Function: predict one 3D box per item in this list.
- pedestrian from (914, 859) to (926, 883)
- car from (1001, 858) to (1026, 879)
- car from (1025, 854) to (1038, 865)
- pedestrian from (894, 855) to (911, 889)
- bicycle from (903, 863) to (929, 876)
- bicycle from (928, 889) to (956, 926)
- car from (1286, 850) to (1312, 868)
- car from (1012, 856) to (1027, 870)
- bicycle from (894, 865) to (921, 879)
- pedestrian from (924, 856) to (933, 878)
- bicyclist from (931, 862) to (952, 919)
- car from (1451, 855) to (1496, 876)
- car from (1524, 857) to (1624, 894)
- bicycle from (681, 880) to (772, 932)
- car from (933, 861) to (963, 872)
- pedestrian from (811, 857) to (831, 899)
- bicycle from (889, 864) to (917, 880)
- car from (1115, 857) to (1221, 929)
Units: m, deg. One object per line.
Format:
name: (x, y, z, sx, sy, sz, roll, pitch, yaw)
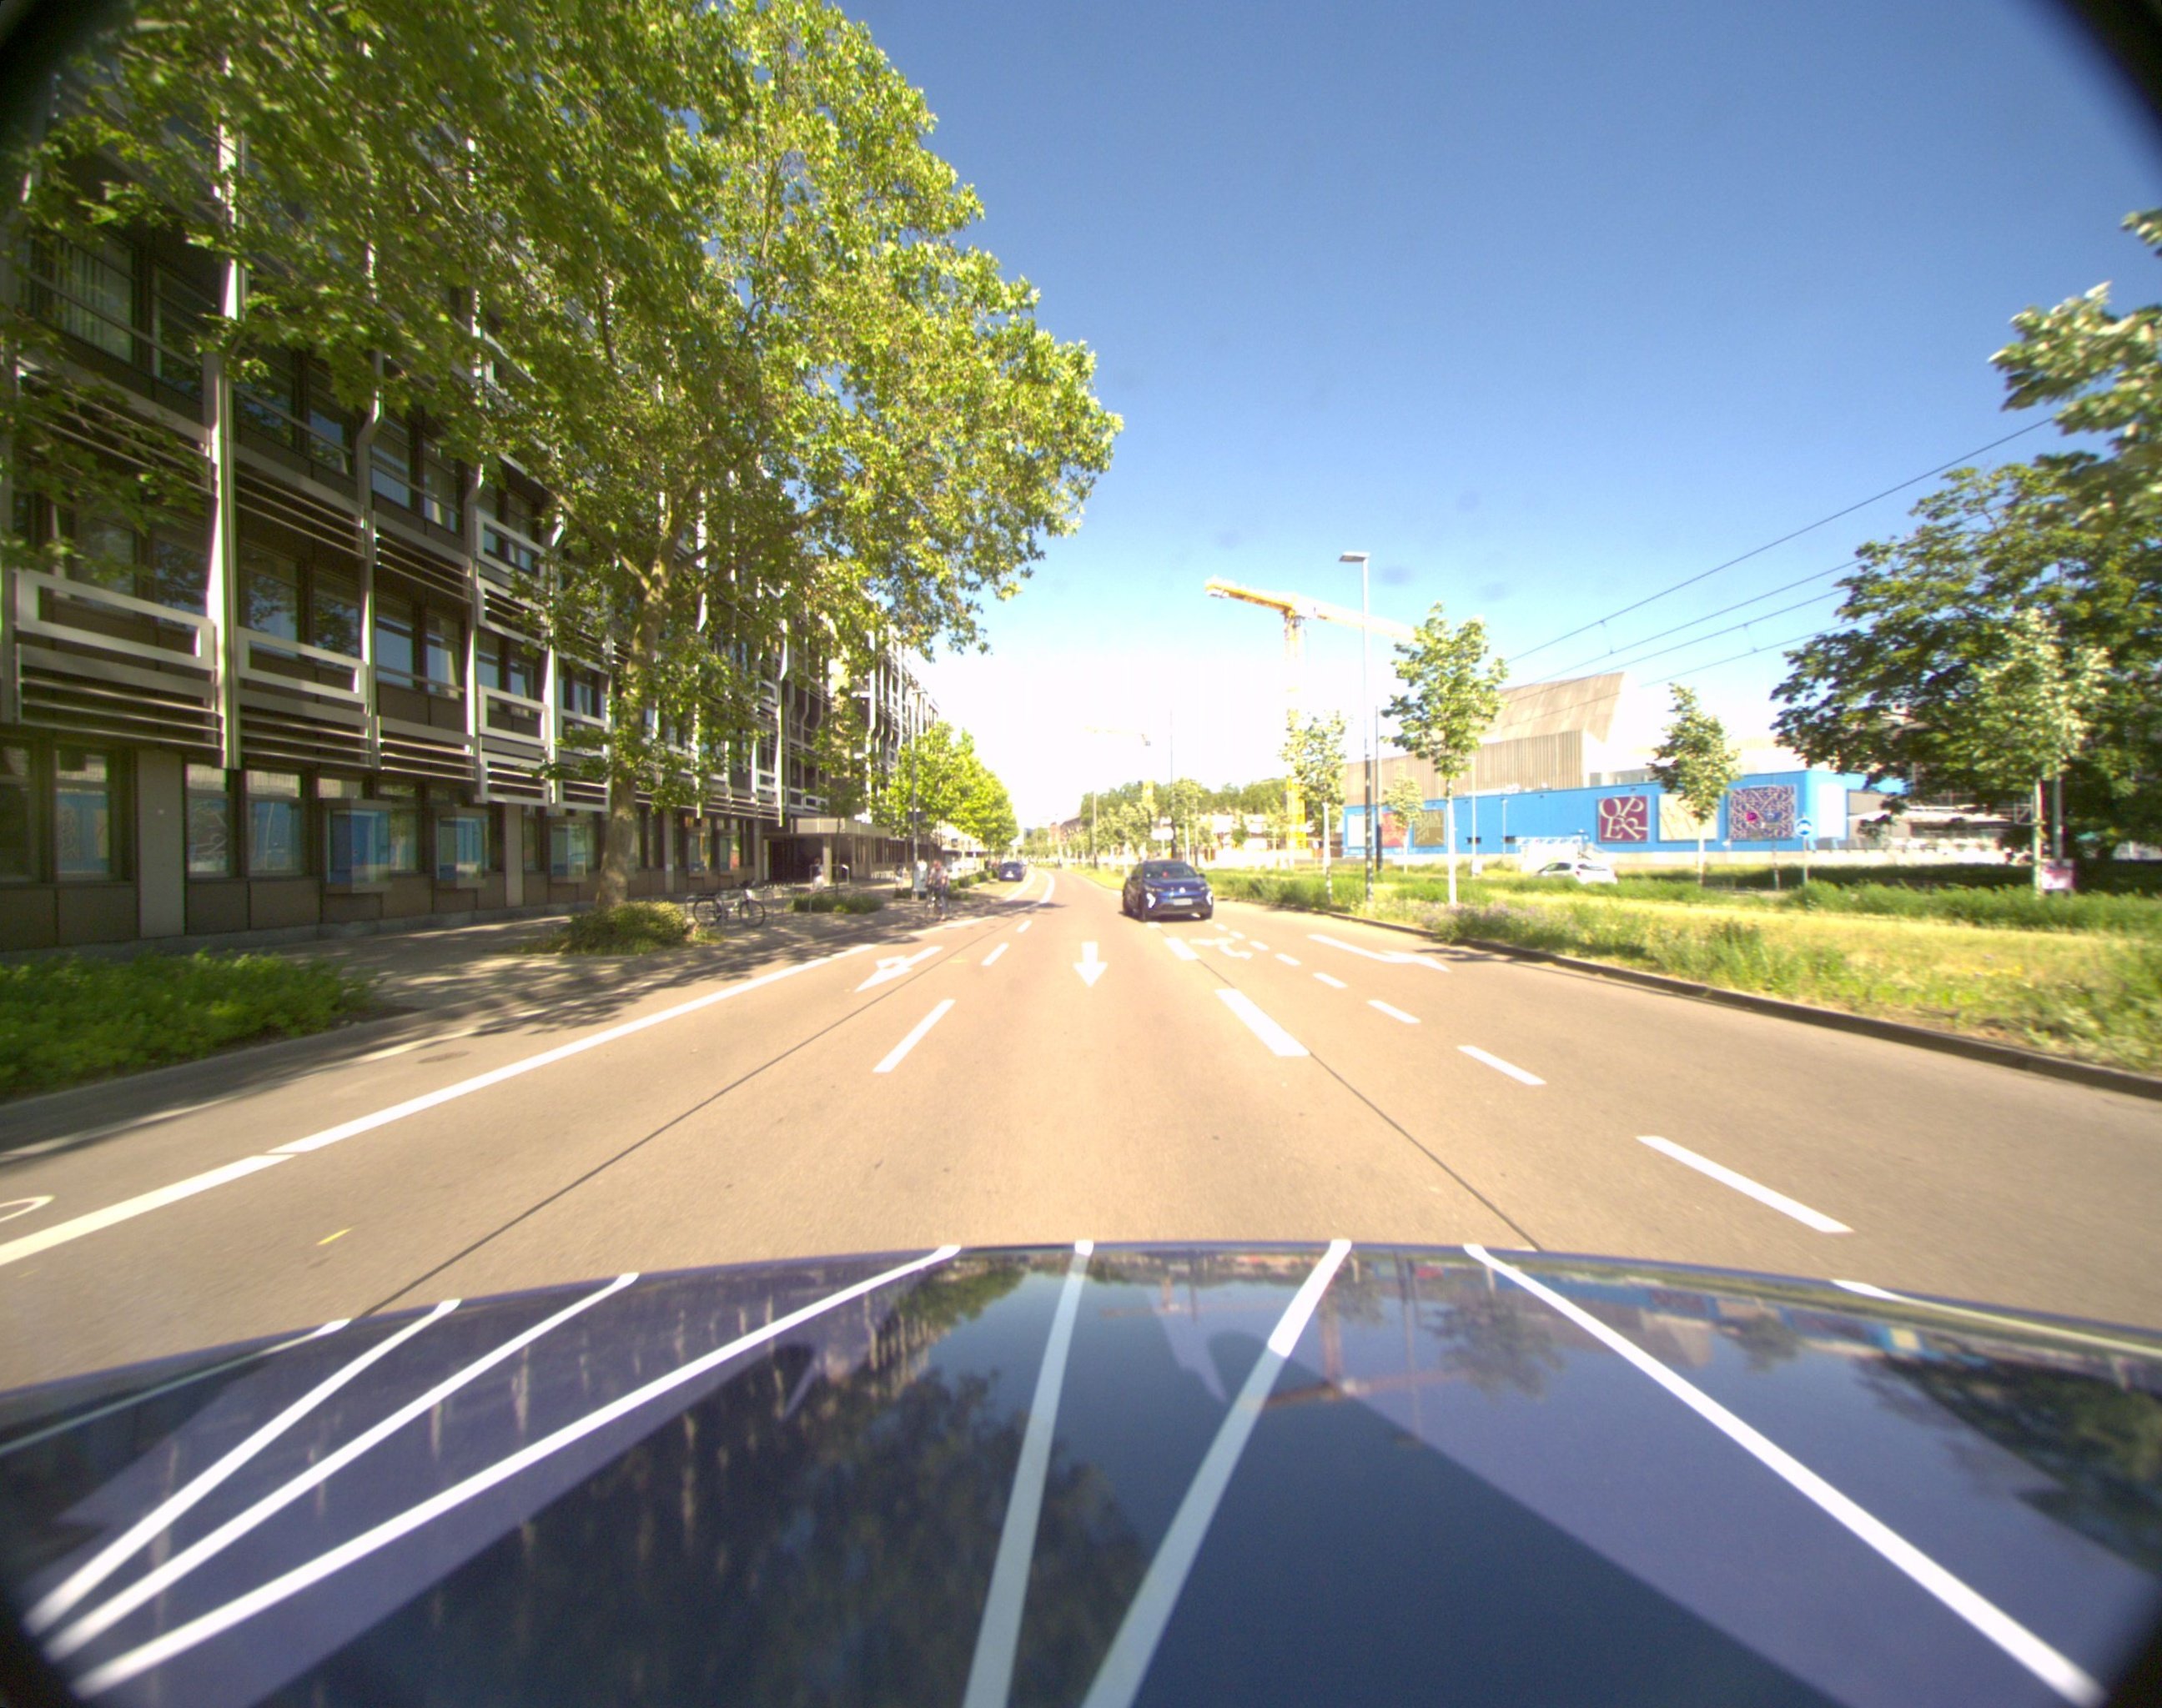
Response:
pedestrian: (-9.871, 1.054, 46.583, 0.512, 1.466, 0.736, -1, 0, 0)
car: (-5.571, 1.175, 63.085, 1.854, 1.647, 4.847, 1, 0, -2)
car: (-8.528, 0.884, 131.686, 1.822, 1.783, 3.999, -3, 1, 1)
pedestrian: (-9.207, 0.937, 39.128, 0.649, 1.718, 0.803, -1, 0, 0)
bicycle: (-12.578, 1.186, 57.858, 1.862, 0.933, 0.427, 1, 1, 2)
bicycle: (-3.914, 1.489, 21.524, 0.499, 0.900, 2.196, -3, 0, -4)
car: (24.026, 0.523, 83.911, 1.802, 1.787, 3.999, -3, 1, 1)
car: (-6.668, 0.971, 82.780, 1.623, 1.456, 4.153, 1, 0, -4)
bicycle: (-12.877, 1.339, 56.500, 1.862, 1.005, 0.427, 1, 1, 2)
pedestrian: (-11.528, 1.002, 57.358, 0.512, 1.613, 0.674, 2, 0, 0)
bicyclist: (-3.961, 1.028, 21.571, 0.514, 1.592, 0.536, -1, 1, -4)
car: (32.889, 0.935, 63.791, 1.562, 1.527, 3.856, -3, 1, -3)
car: (20.424, 0.853, 31.645, 1.637, 1.390, 3.833, -1, 0, -1)
bicycle: (-8.721, 1.268, 18.739, 1.942, 1.229, 0.579, 1, 0, -2)
car: (-20.867, 1.940, 119.107, 4.411, 1.535, 1.851, -1, 0, -16)
pedestrian: (-10.632, 0.988, 31.137, 0.512, 1.691, 0.774, -1, 0, 0)
bicycle: (-12.894, 1.291, 55.042, 1.862, 1.091, 0.427, 1, 1, 2)
car: (2.187, 0.958, 20.328, 1.750, 1.613, 4.150, -4, 0, -8)
